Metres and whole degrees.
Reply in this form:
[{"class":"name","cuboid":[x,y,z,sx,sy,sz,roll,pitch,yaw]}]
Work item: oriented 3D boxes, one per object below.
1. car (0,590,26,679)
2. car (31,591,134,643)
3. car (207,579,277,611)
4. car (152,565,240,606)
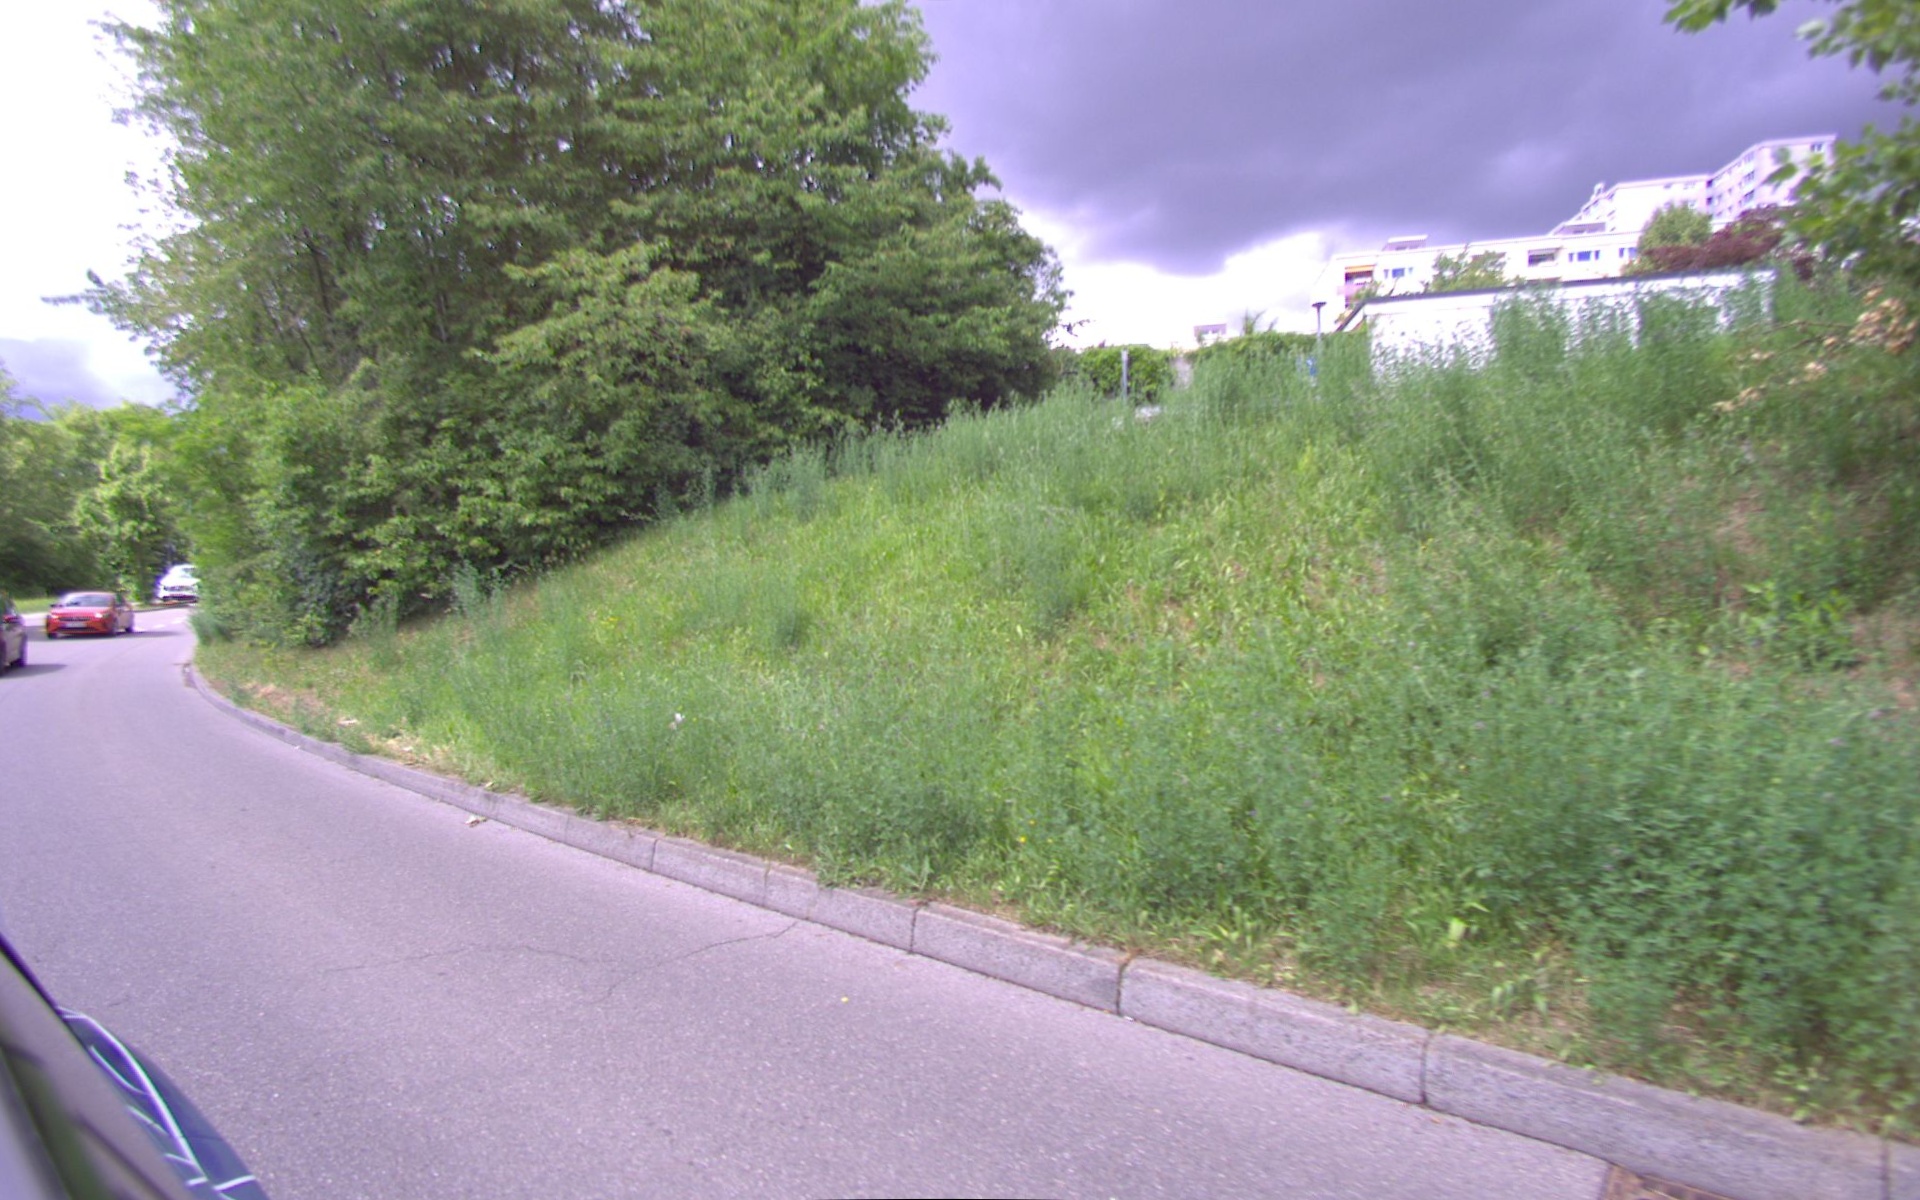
[{"class":"car","cuboid":[-20.570,0.679,20.558,1.882,1.711,4.397,0,1,-37]},{"class":"car","cuboid":[-28.687,0.504,33.225,1.766,1.423,4.126,0,2,-30]},{"class":"car","cuboid":[-37.563,-0.289,53.068,1.767,1.520,4.126,-3,1,-17]},{"class":"car","cuboid":[-40.989,-0.832,54.458,1.840,2.074,5.443,0,2,-15]}]
